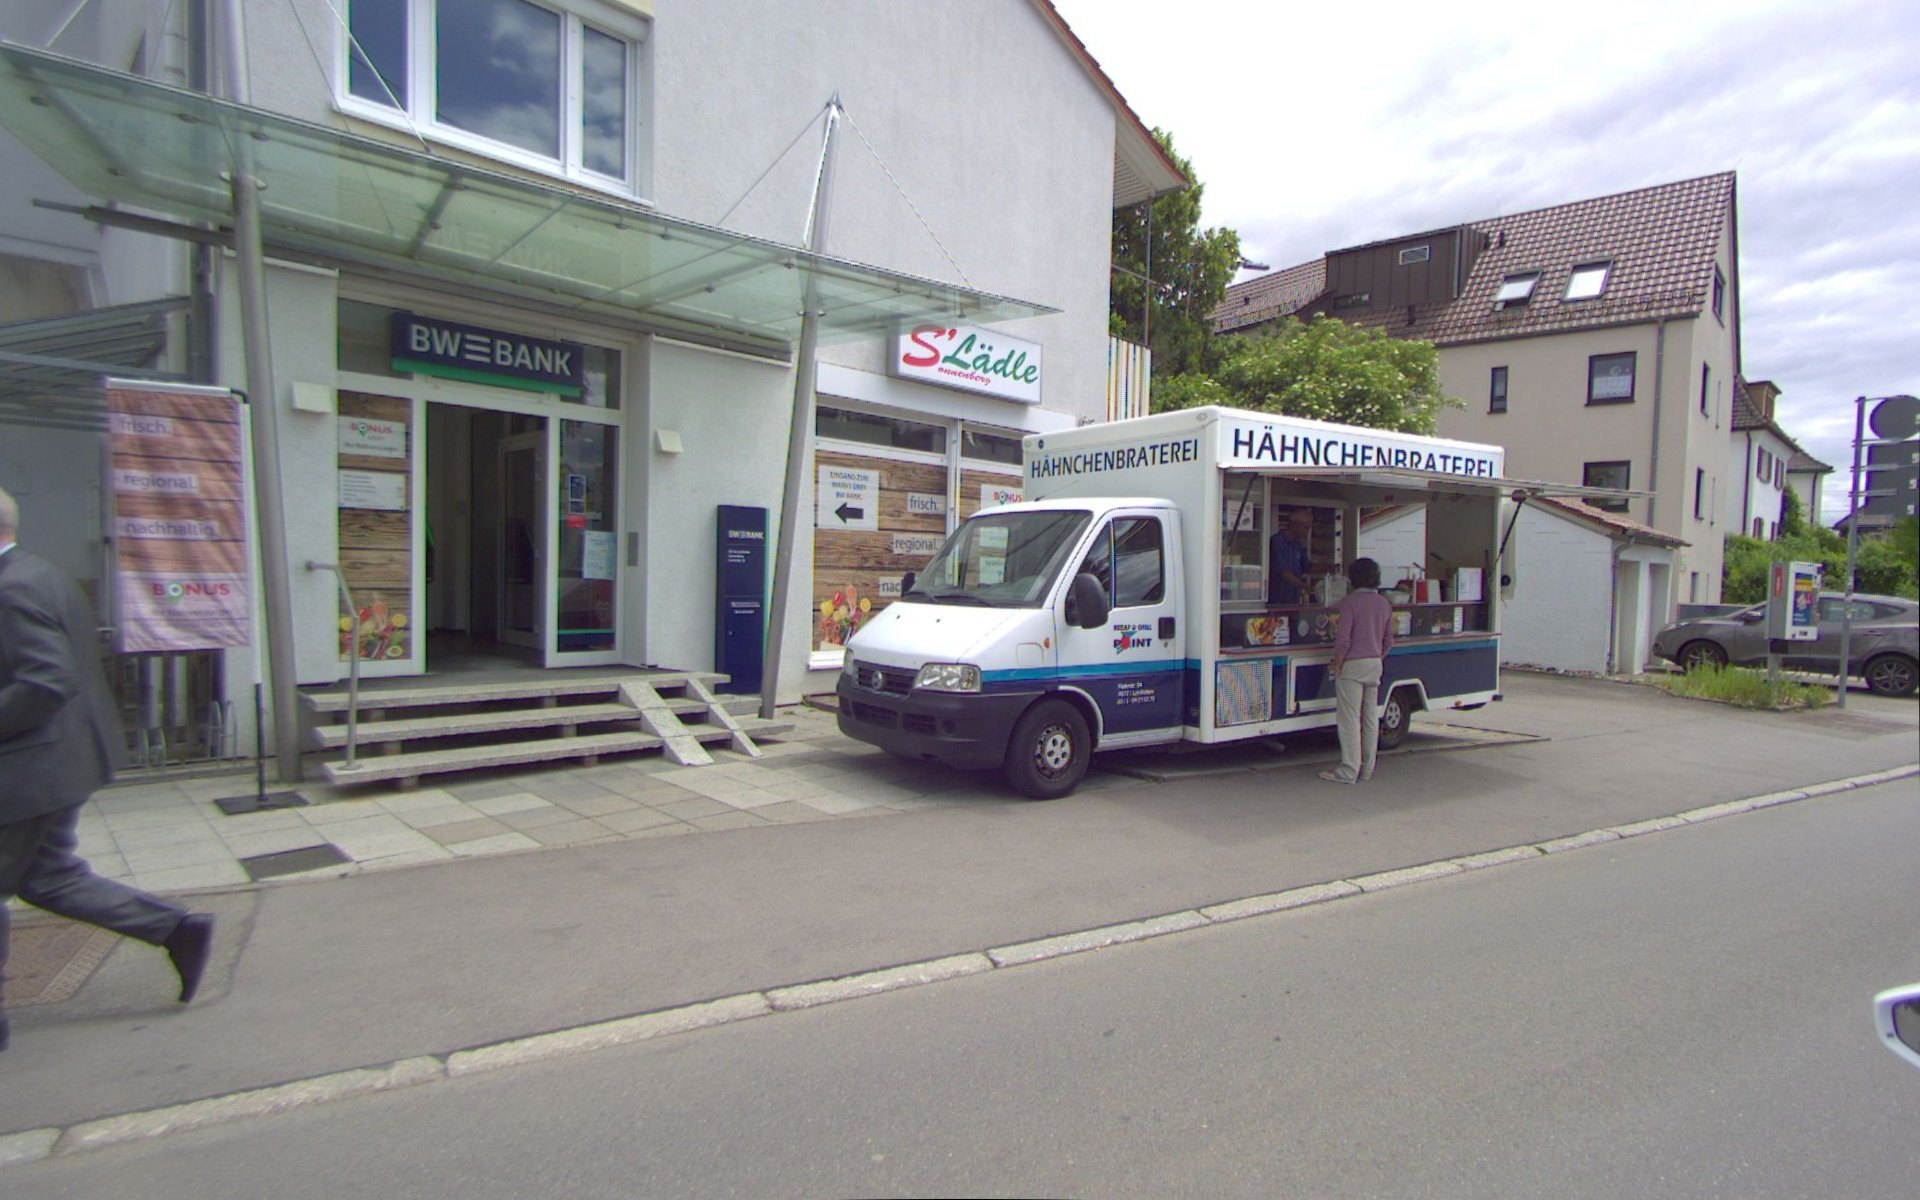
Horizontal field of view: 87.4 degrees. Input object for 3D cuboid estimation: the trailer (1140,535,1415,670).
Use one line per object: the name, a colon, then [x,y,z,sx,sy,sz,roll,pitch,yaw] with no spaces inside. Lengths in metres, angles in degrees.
trailer: [5.757,-0.098,18.867,1.687,2.109,4.828,-1,5,-35]

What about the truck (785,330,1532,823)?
truck: [2.059,-0.131,8.803,6.640,2.879,2.456,1,2,-35]

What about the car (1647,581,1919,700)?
car: [15.343,0.663,18.333,1.785,1.718,4.269,0,4,-44]

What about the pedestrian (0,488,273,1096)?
pedestrian: [-2.829,0.520,3.101,1.096,1.709,0.719,1,4,-30]

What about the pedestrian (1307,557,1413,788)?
pedestrian: [3.113,0.544,7.821,0.591,1.718,0.398,1,4,-35]
